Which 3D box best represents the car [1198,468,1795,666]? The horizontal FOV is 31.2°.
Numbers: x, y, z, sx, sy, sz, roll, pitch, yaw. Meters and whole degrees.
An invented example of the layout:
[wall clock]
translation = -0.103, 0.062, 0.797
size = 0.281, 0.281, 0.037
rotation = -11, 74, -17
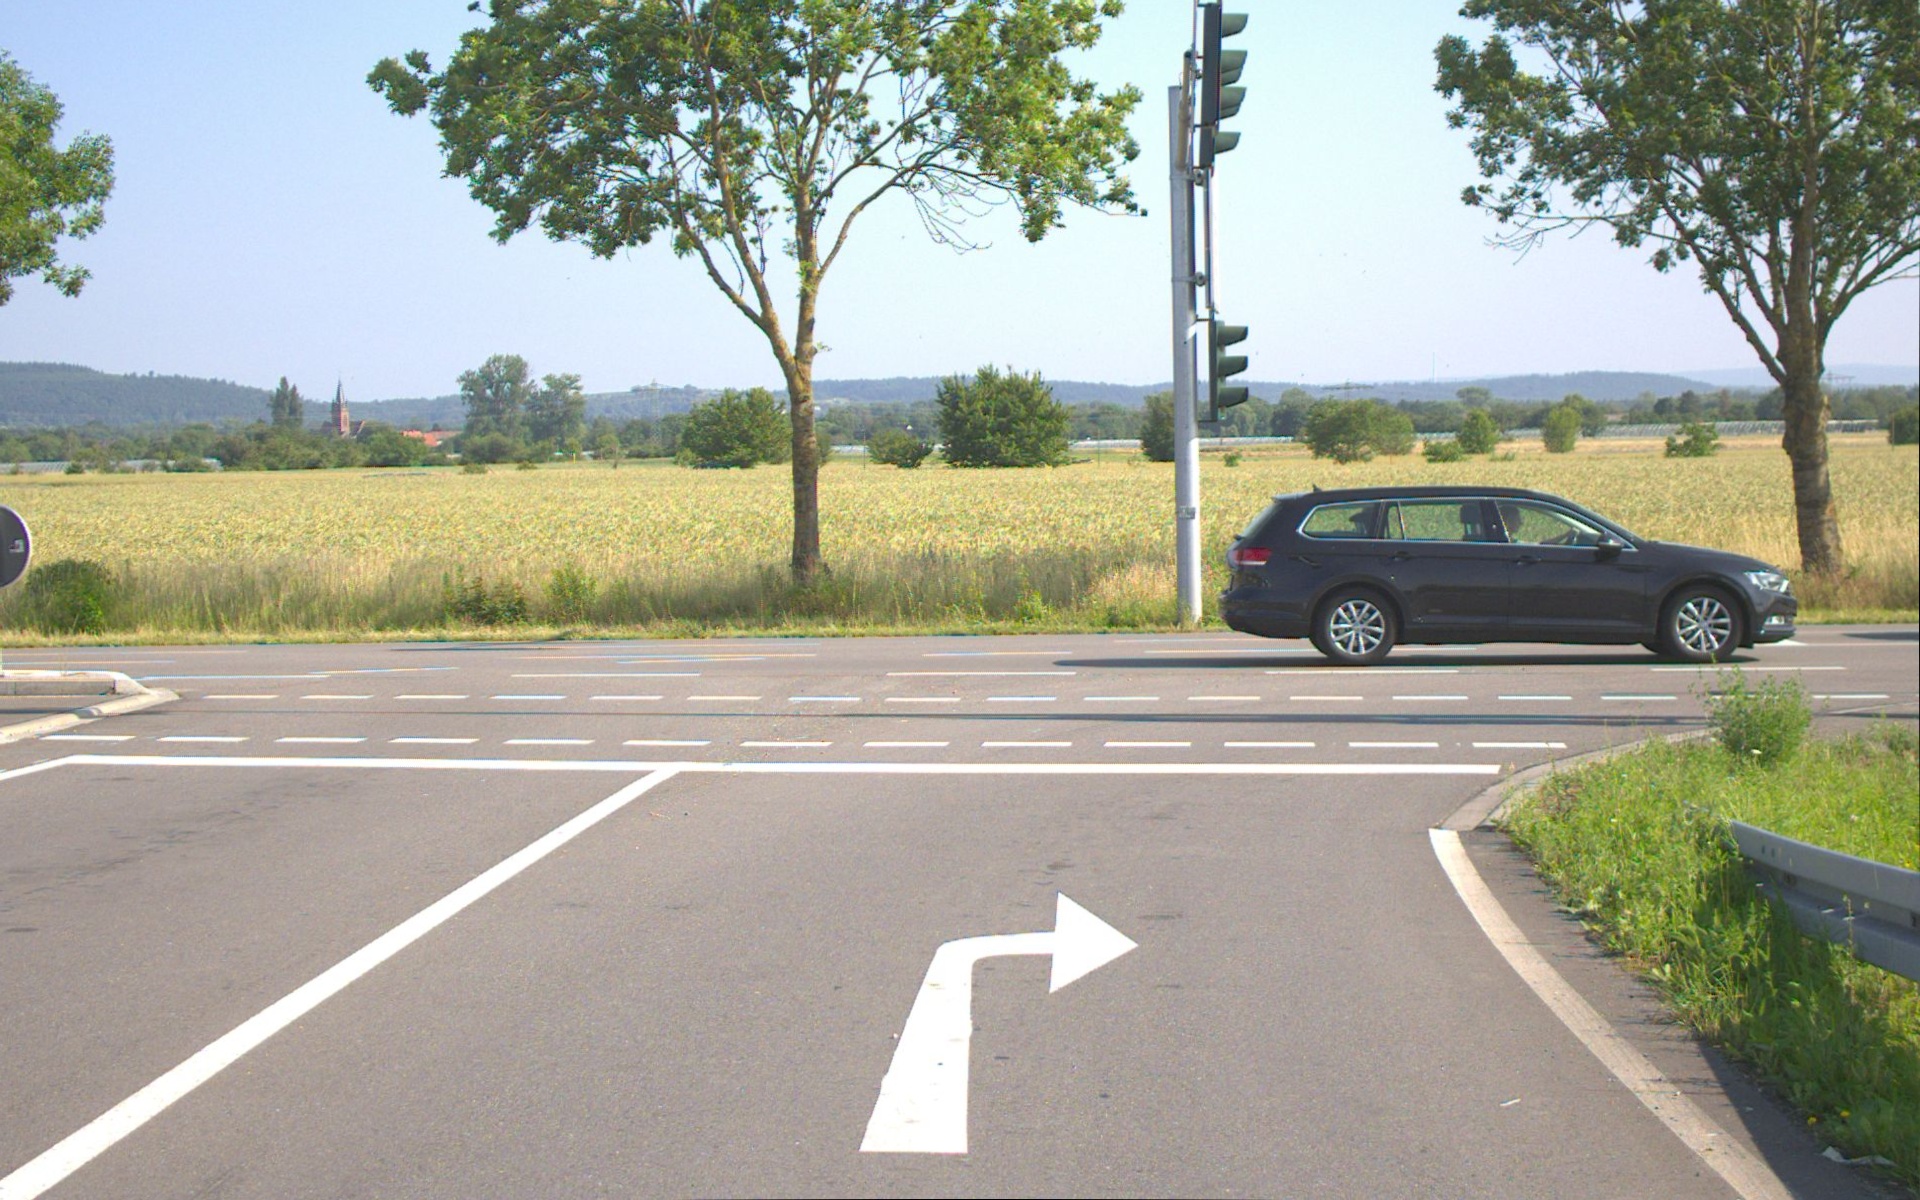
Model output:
[car]
translation = 4.376, -0.299, 28.589
size = 4.673, 1.513, 1.922
rotation = -1, 3, 1
